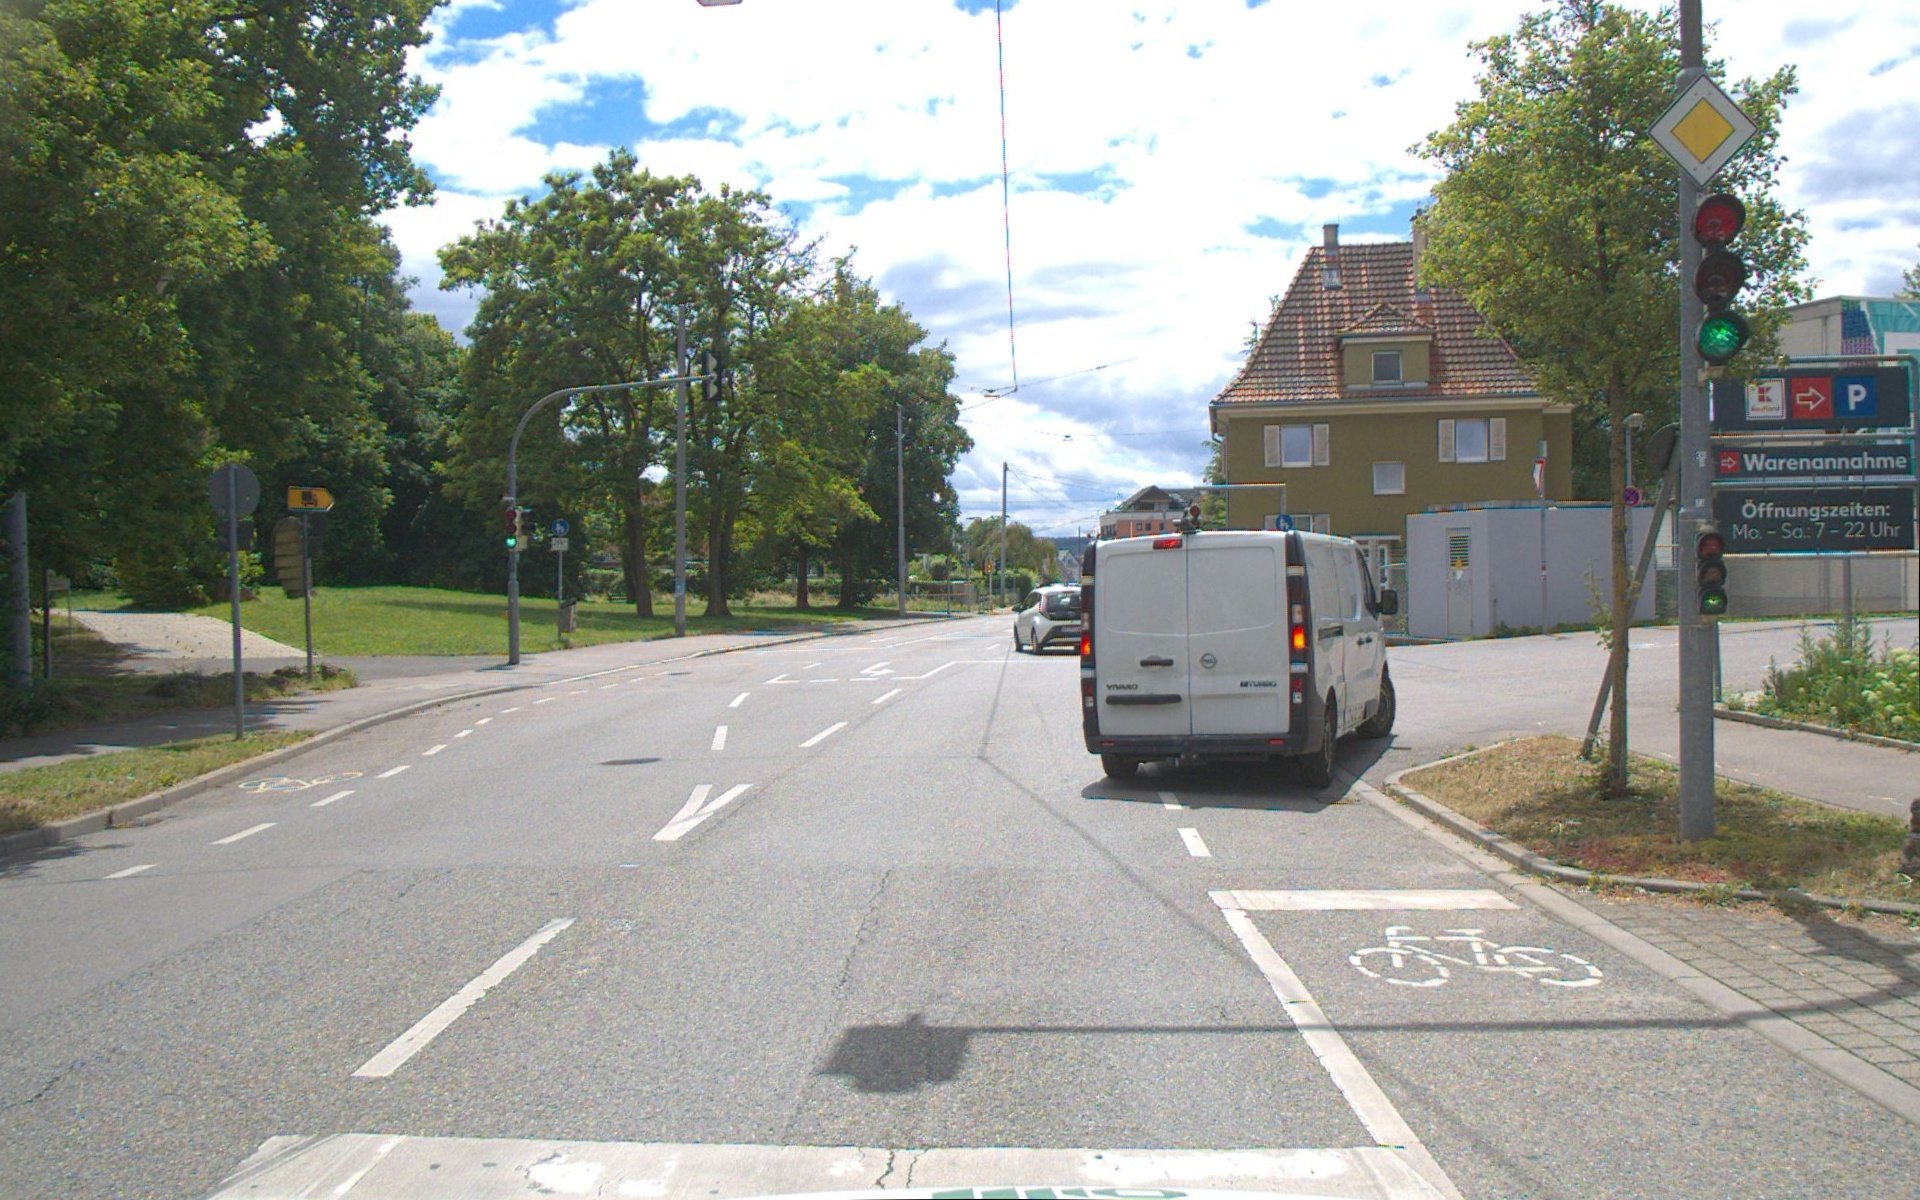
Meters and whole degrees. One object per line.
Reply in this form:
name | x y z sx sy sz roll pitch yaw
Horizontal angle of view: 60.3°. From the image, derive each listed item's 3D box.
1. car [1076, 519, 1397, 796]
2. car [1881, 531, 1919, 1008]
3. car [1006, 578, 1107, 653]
car | 2.613 0.355 14.502 1.899 1.995 4.834 1 1 20
car | 4.120 0.535 3.580 1.702 1.644 4.386 -4 0 0
car | 2.151 0.324 37.870 1.573 1.634 3.993 0 0 -8
